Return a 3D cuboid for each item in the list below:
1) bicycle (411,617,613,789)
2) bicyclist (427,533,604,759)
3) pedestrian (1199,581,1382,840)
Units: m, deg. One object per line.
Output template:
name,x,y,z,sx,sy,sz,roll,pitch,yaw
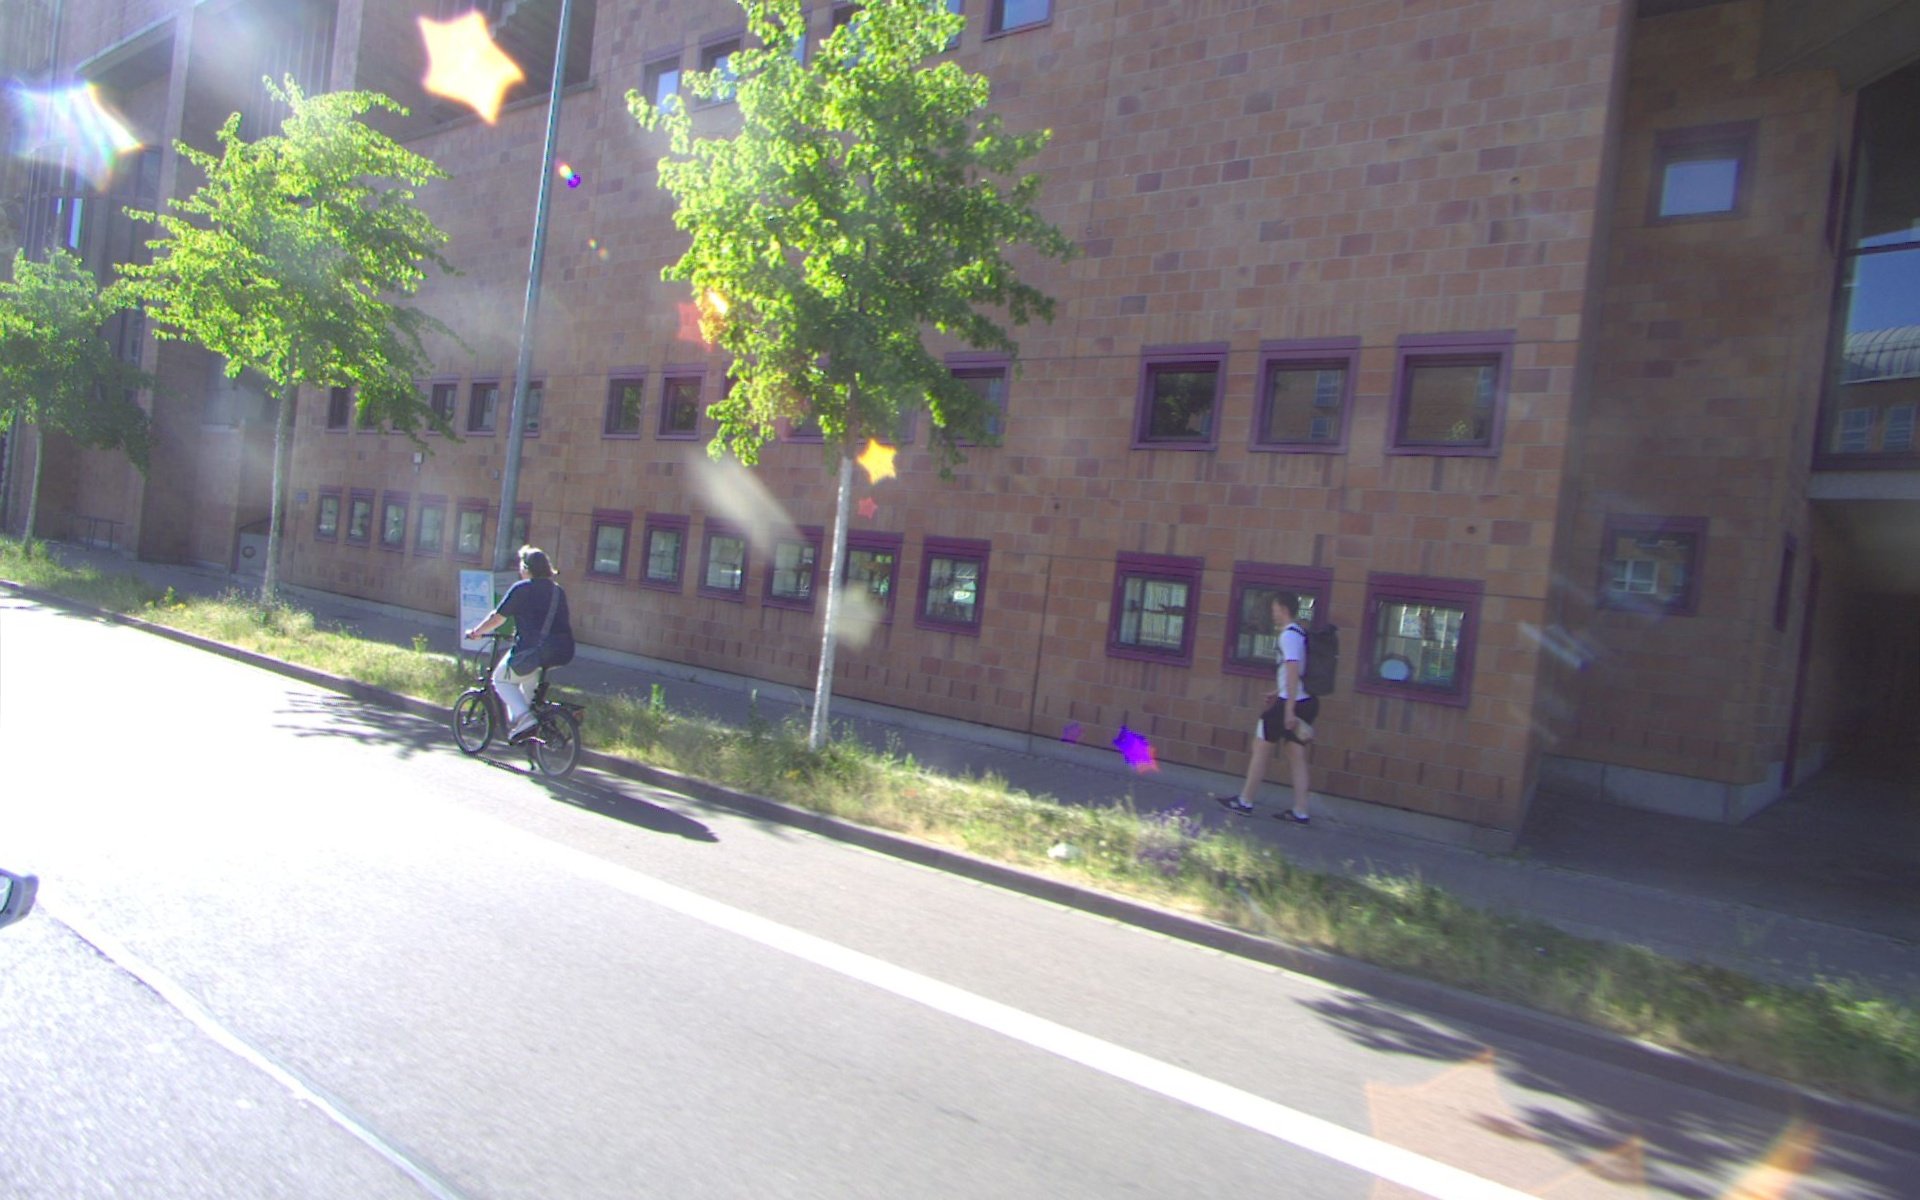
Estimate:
bicycle,-3.409,0.751,7.628,1.482,1.039,0.558,7,-1,32
bicyclist,-3.372,0.344,7.640,0.894,1.555,0.658,7,-1,32
pedestrian,2.747,0.871,8.349,1.088,1.906,0.788,7,1,32
